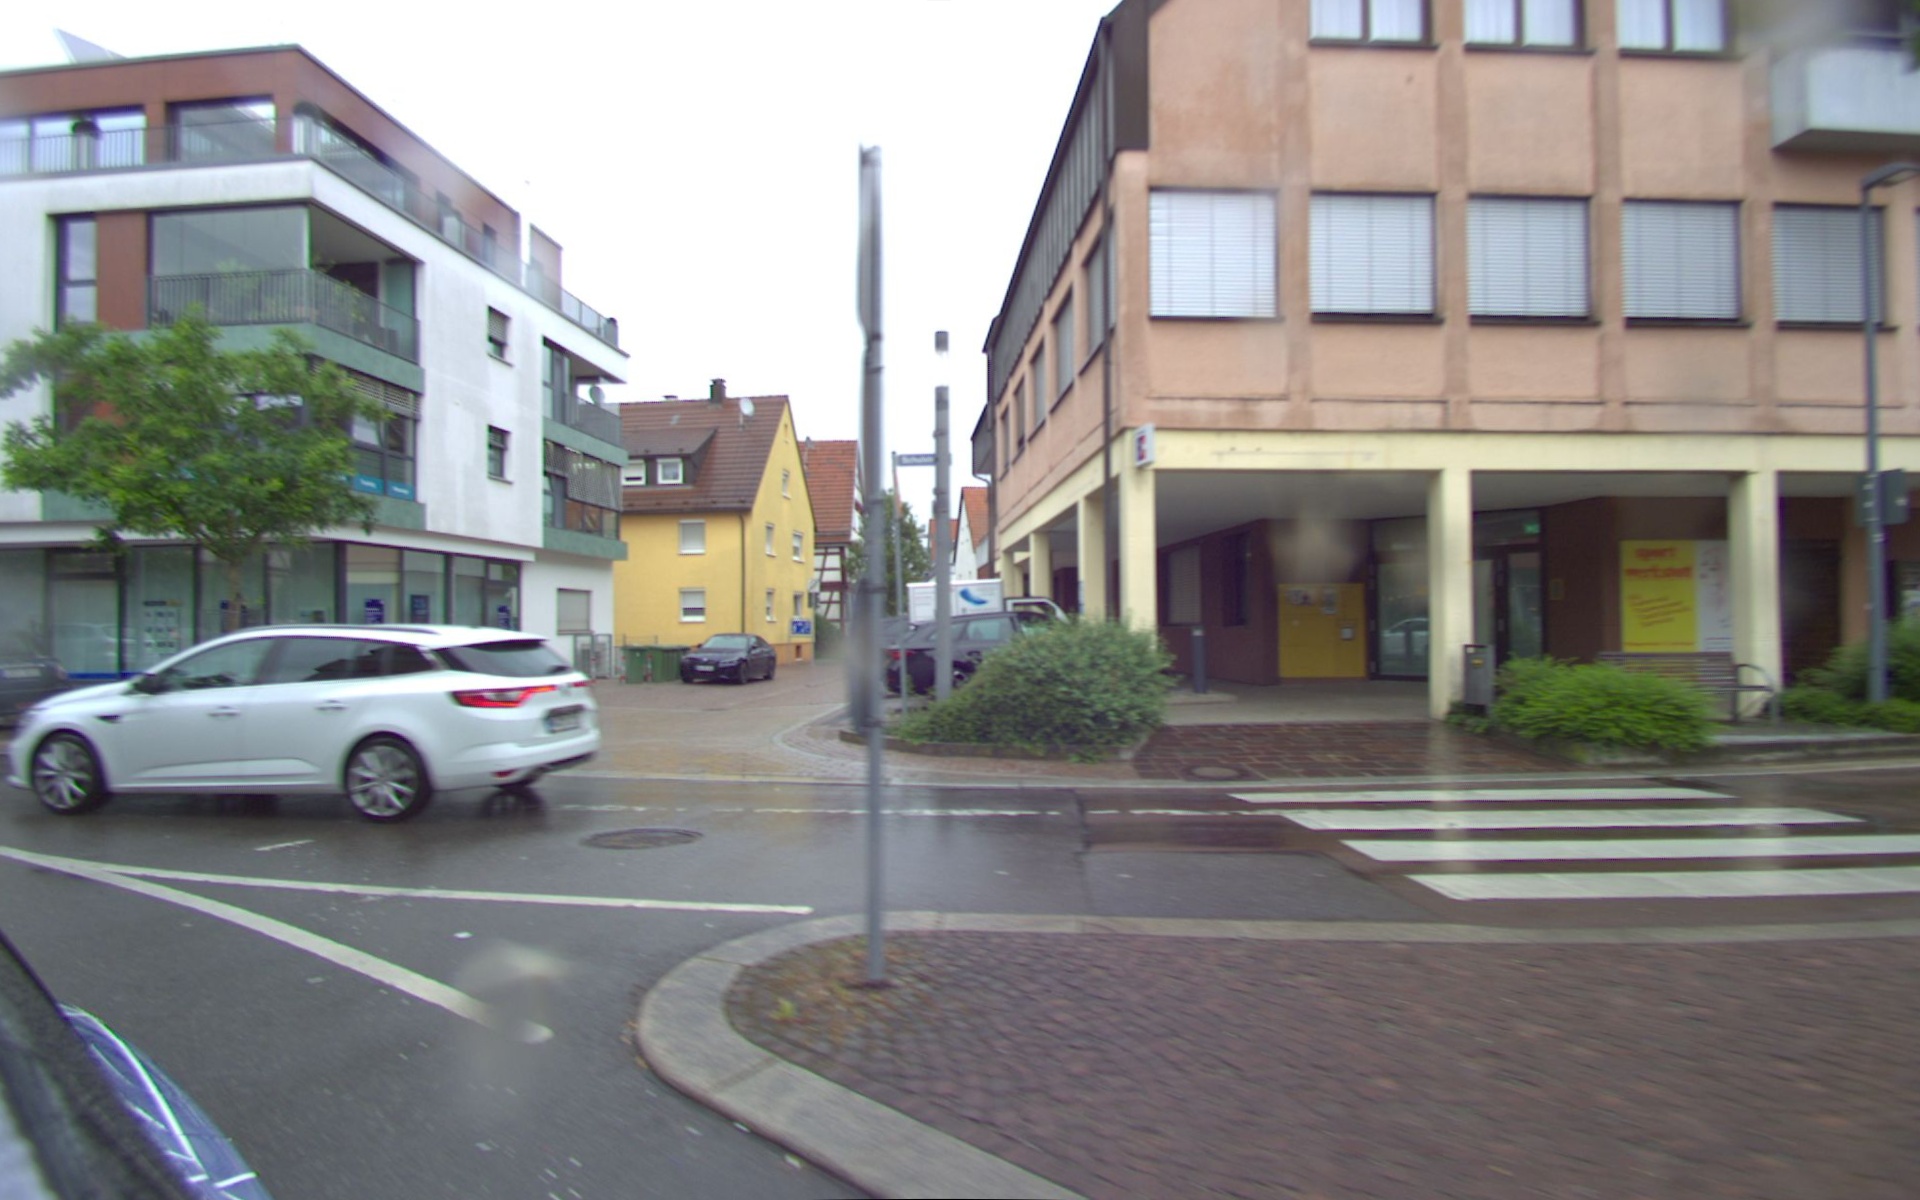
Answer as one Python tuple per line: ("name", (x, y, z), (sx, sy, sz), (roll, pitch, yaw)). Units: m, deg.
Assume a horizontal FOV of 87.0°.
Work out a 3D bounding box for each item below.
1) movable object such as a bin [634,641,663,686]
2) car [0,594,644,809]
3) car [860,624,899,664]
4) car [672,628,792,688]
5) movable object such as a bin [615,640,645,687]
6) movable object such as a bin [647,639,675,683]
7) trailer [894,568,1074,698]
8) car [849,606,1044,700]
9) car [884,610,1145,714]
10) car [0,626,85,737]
("movable object such as a bin", (-8.931, 1.811, 29.022), (0.624, 1.242, 0.522), (0, 0, 8))
("car", (-5.311, 0.759, 8.371), (4.805, 1.503, 1.920), (0, -2, 7))
("car", (-4.488, 2.434, 56.935), (1.972, 2.029, 4.000), (0, 0, -1))
("car", (-6.719, 1.667, 30.354), (1.977, 1.519, 4.532), (0, 0, 9))
("movable object such as a bin", (-9.086, 1.744, 27.879), (0.624, 1.242, 0.522), (0, 0, 8))
("movable object such as a bin", (-8.752, 1.779, 29.618), (0.624, 1.242, 0.522), (0, 0, 8))
("trailer", (0.382, 0.618, 18.741), (3.048, 2.104, 1.837), (-4, -3, -2))
("car", (-0.318, 1.134, 21.926), (3.942, 1.684, 1.837), (-4, -3, -2))
("car", (0.793, 0.943, 16.230), (3.942, 1.519, 1.837), (0, 0, -2))
("car", (-14.480, 1.115, 14.016), (3.543, 1.446, 1.676), (0, 0, 8))
